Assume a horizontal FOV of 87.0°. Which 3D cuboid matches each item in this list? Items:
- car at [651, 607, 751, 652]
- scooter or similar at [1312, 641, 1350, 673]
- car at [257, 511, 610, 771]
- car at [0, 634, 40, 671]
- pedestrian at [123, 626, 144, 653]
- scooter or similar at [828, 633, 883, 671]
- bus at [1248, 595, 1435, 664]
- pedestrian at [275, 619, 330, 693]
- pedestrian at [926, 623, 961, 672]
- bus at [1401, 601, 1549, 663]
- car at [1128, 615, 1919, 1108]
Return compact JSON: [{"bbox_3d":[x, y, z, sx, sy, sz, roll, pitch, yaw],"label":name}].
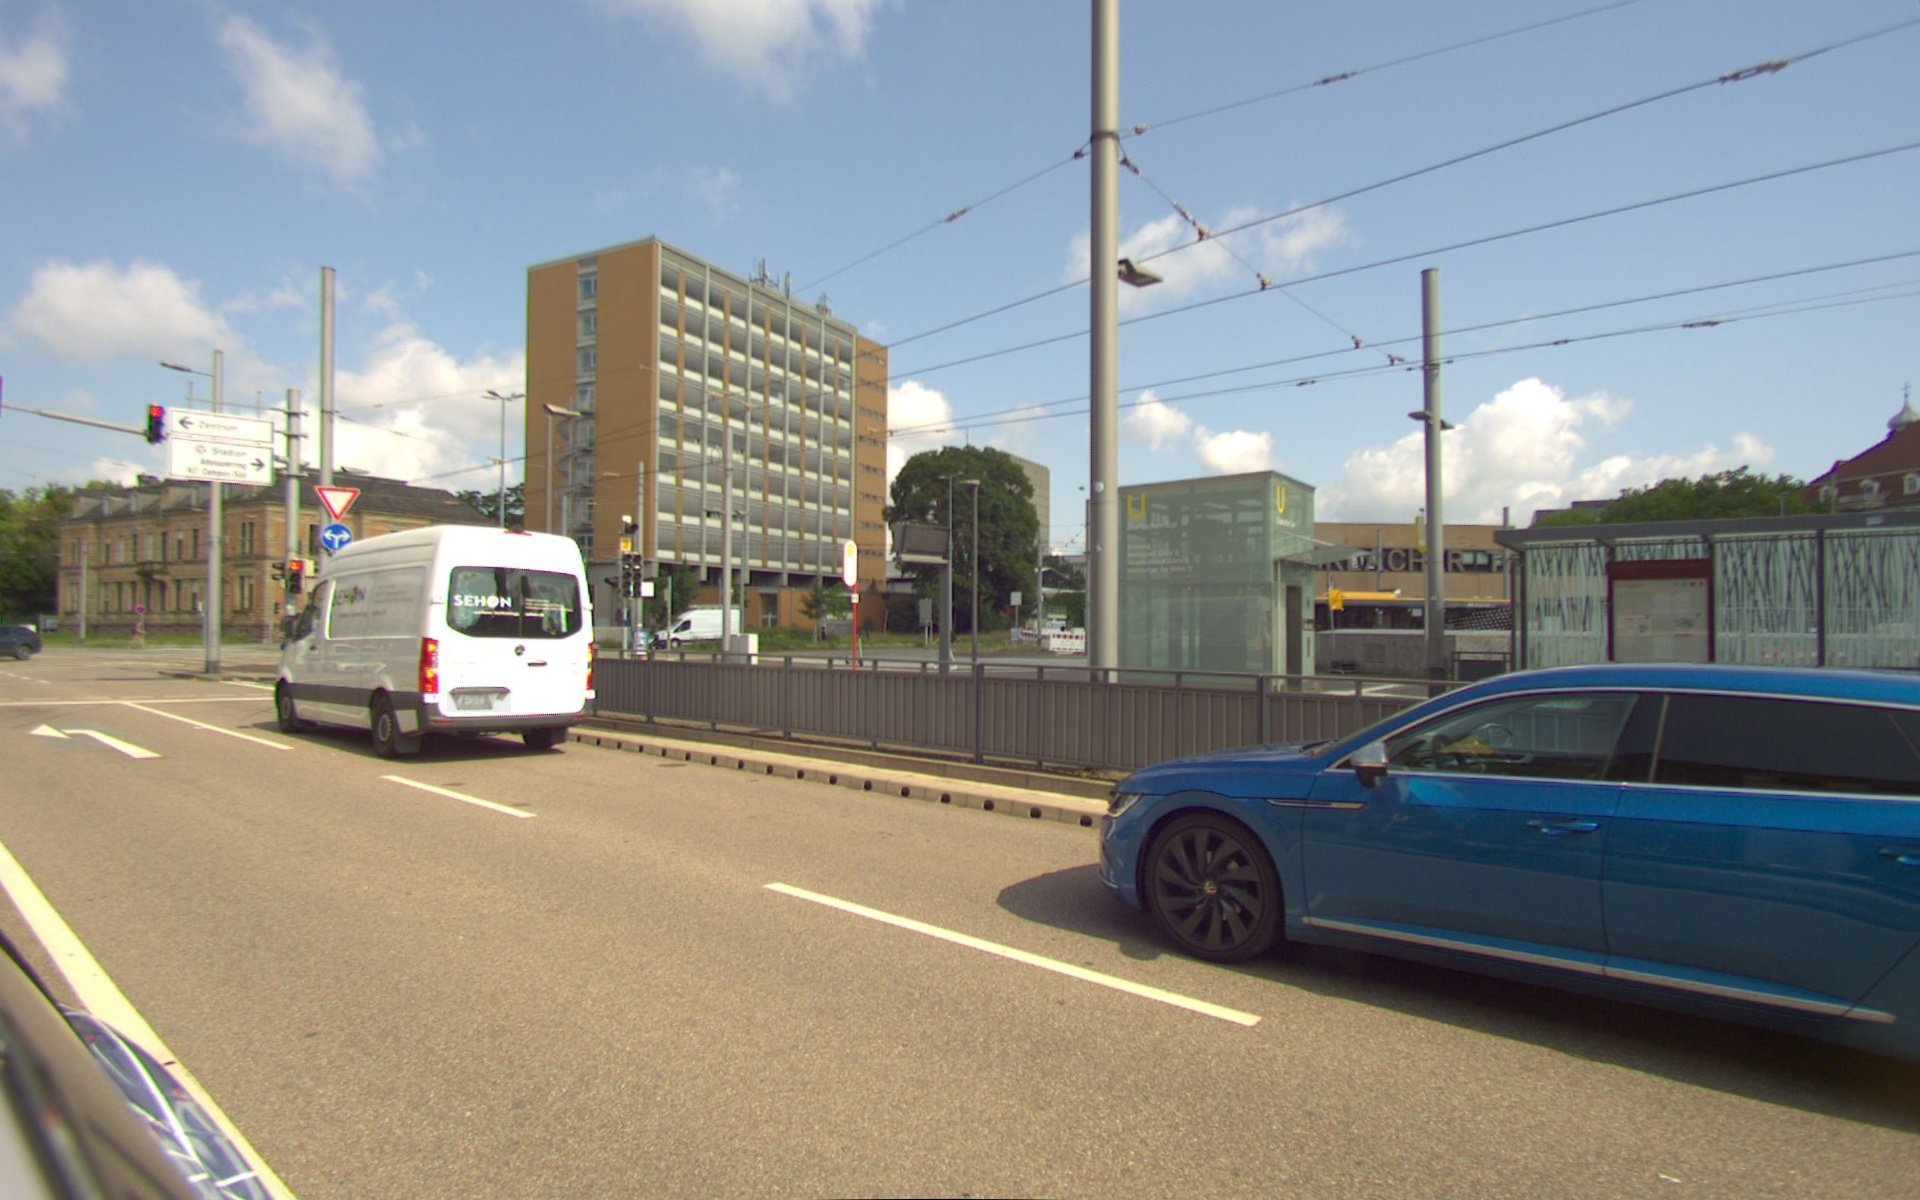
[{"bbox_3d":[-17.450,2.006,68.345,6.045,2.901,2.493,1,-2,-32],"label":"car"},{"bbox_3d":[11.582,1.779,31.631,0.466,0.957,1.665,0,-2,-5],"label":"scooter or similar"},{"bbox_3d":[-6.860,0.510,12.858,5.577,2.642,1.973,-1,-4,41],"label":"car"},{"bbox_3d":[-39.354,2.167,39.912,1.973,1.290,4.543,2,2,1],"label":"car"},{"bbox_3d":[-54.327,2.602,66.549,0.856,1.750,0.776,-1,-2,29],"label":"pedestrian"},{"bbox_3d":[-3.836,1.891,37.146,1.495,1.198,1.320,4,3,43],"label":"scooter or similar"},{"bbox_3d":[16.279,1.269,43.454,6.992,2.855,2.703,0,-2,-5],"label":"bus"},{"bbox_3d":[-15.381,1.289,23.675,0.794,1.686,0.834,-1,-3,39],"label":"pedestrian"},{"bbox_3d":[-0.582,1.656,35.685,1.080,1.702,0.931,-1,-1,-8],"label":"pedestrian"},{"bbox_3d":[22.286,1.392,43.968,4.999,2.607,2.705,0,-2,-6],"label":"bus"},{"bbox_3d":[3.111,0.839,4.043,4.551,1.466,1.831,-2,-4,41],"label":"car"}]
